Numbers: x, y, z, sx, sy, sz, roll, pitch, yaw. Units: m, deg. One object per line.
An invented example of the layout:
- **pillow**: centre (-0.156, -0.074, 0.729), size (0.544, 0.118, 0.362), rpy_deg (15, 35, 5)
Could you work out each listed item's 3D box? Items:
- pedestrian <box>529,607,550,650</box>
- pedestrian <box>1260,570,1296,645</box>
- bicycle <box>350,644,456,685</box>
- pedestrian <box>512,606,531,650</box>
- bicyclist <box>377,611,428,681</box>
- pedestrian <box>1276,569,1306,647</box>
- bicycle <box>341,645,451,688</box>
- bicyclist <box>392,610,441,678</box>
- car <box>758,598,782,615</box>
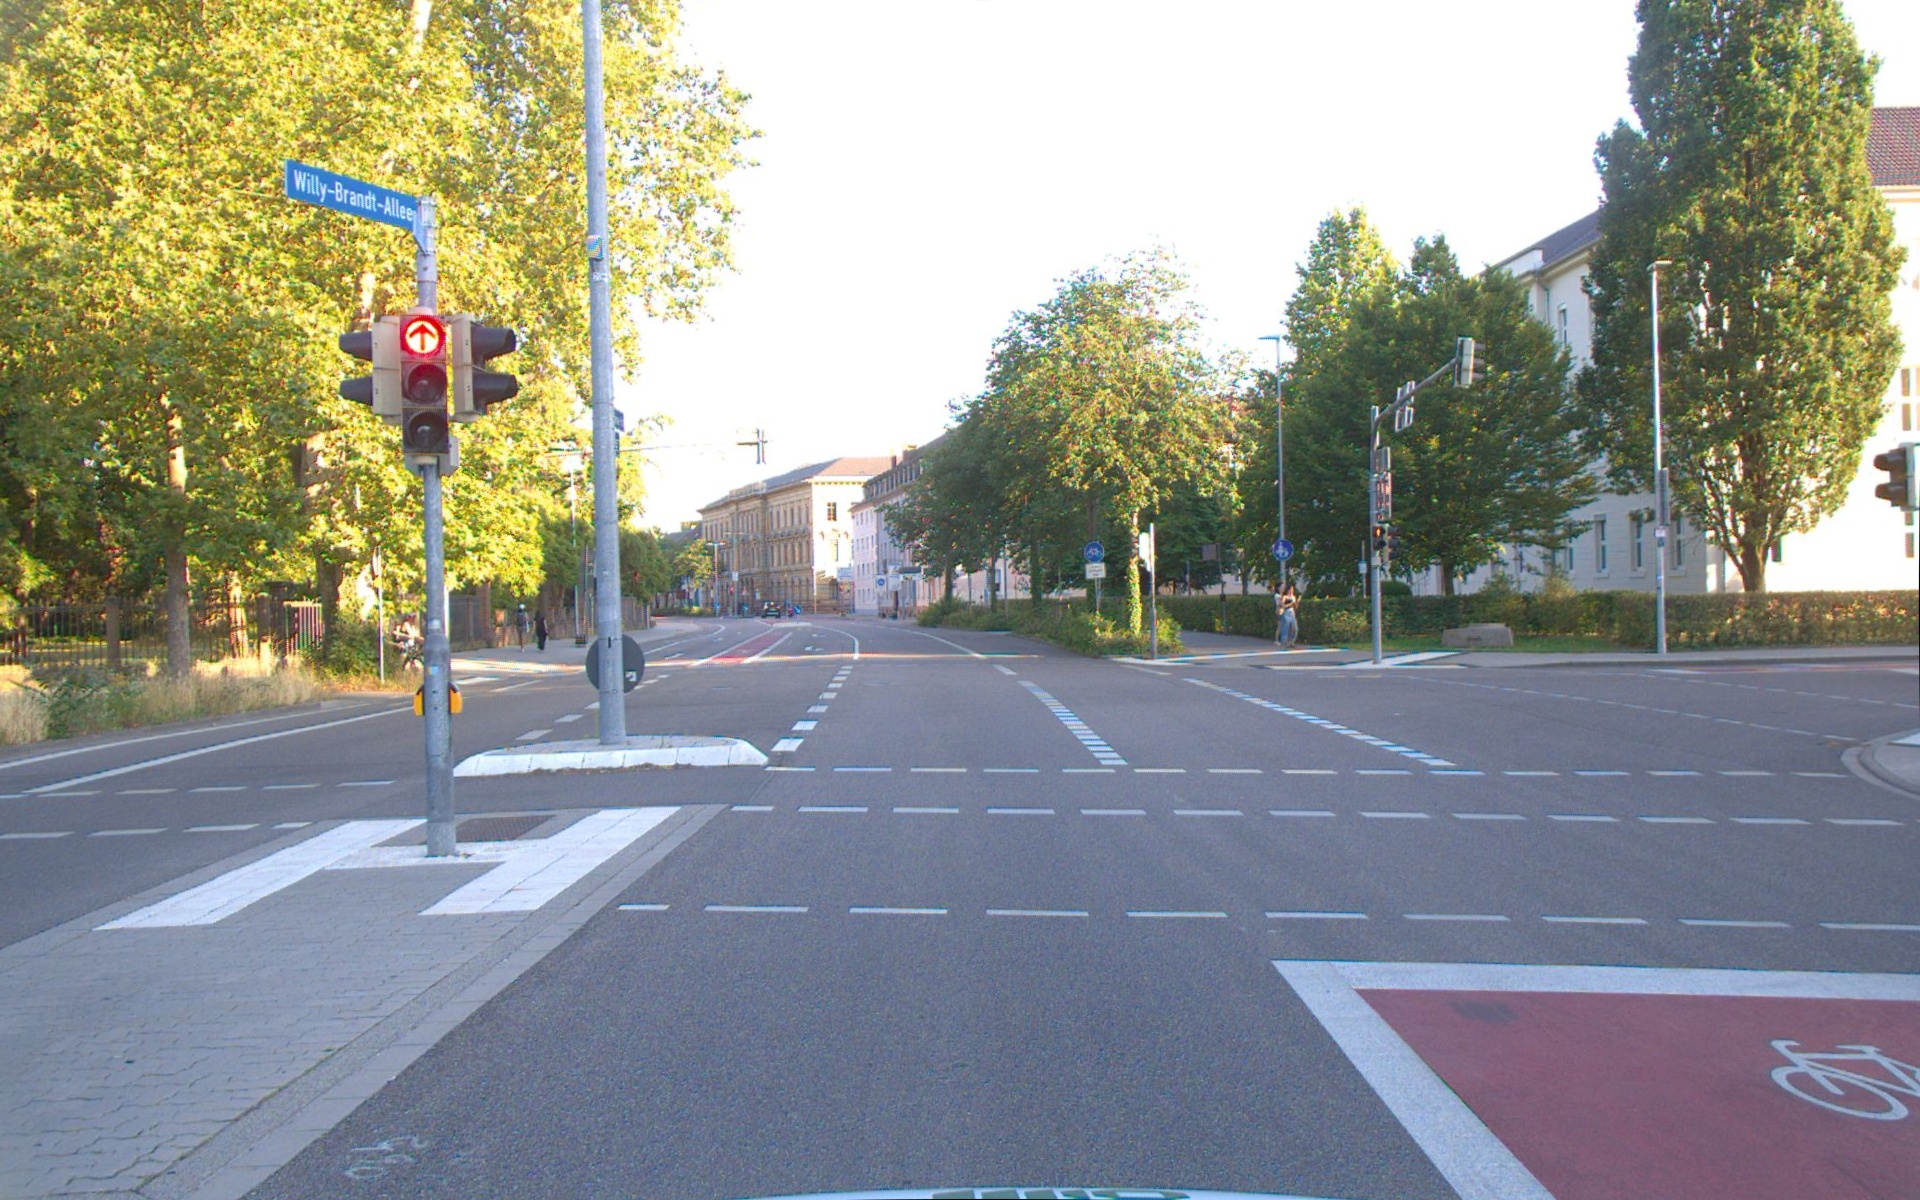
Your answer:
- **pedestrian**: centre (-15.736, 1.060, 61.860), size (0.587, 1.601, 0.646), rpy_deg (-1, 0, -1)
- **pedestrian**: centre (8.772, 0.195, 45.644), size (0.852, 2.049, 0.722), rpy_deg (0, 0, -1)
- **bicycle**: centre (-14.043, 1.612, 41.741), size (2.380, 0.940, 0.775), rpy_deg (-1, 0, 0)
- **pedestrian**: centre (-16.393, 1.058, 61.831), size (0.524, 1.624, 0.590), rpy_deg (-1, 0, -1)
- **bicyclist**: centre (-13.503, 1.105, 40.061), size (0.938, 1.659, 0.752), rpy_deg (-1, 0, -1)
- **pedestrian**: centre (8.834, 0.210, 44.164), size (0.622, 2.049, 0.720), rpy_deg (0, 0, -5)
- **bicycle**: centre (-13.652, 1.606, 40.070), size (2.380, 0.940, 0.775), rpy_deg (-1, 0, 0)
- **bicyclist**: centre (-13.718, 1.105, 41.755), size (0.938, 1.659, 0.752), rpy_deg (-1, 0, -1)
- **car**: centre (-19.476, 0.650, 169.417), size (1.789, 1.616, 3.984), rpy_deg (-2, 0, -15)
